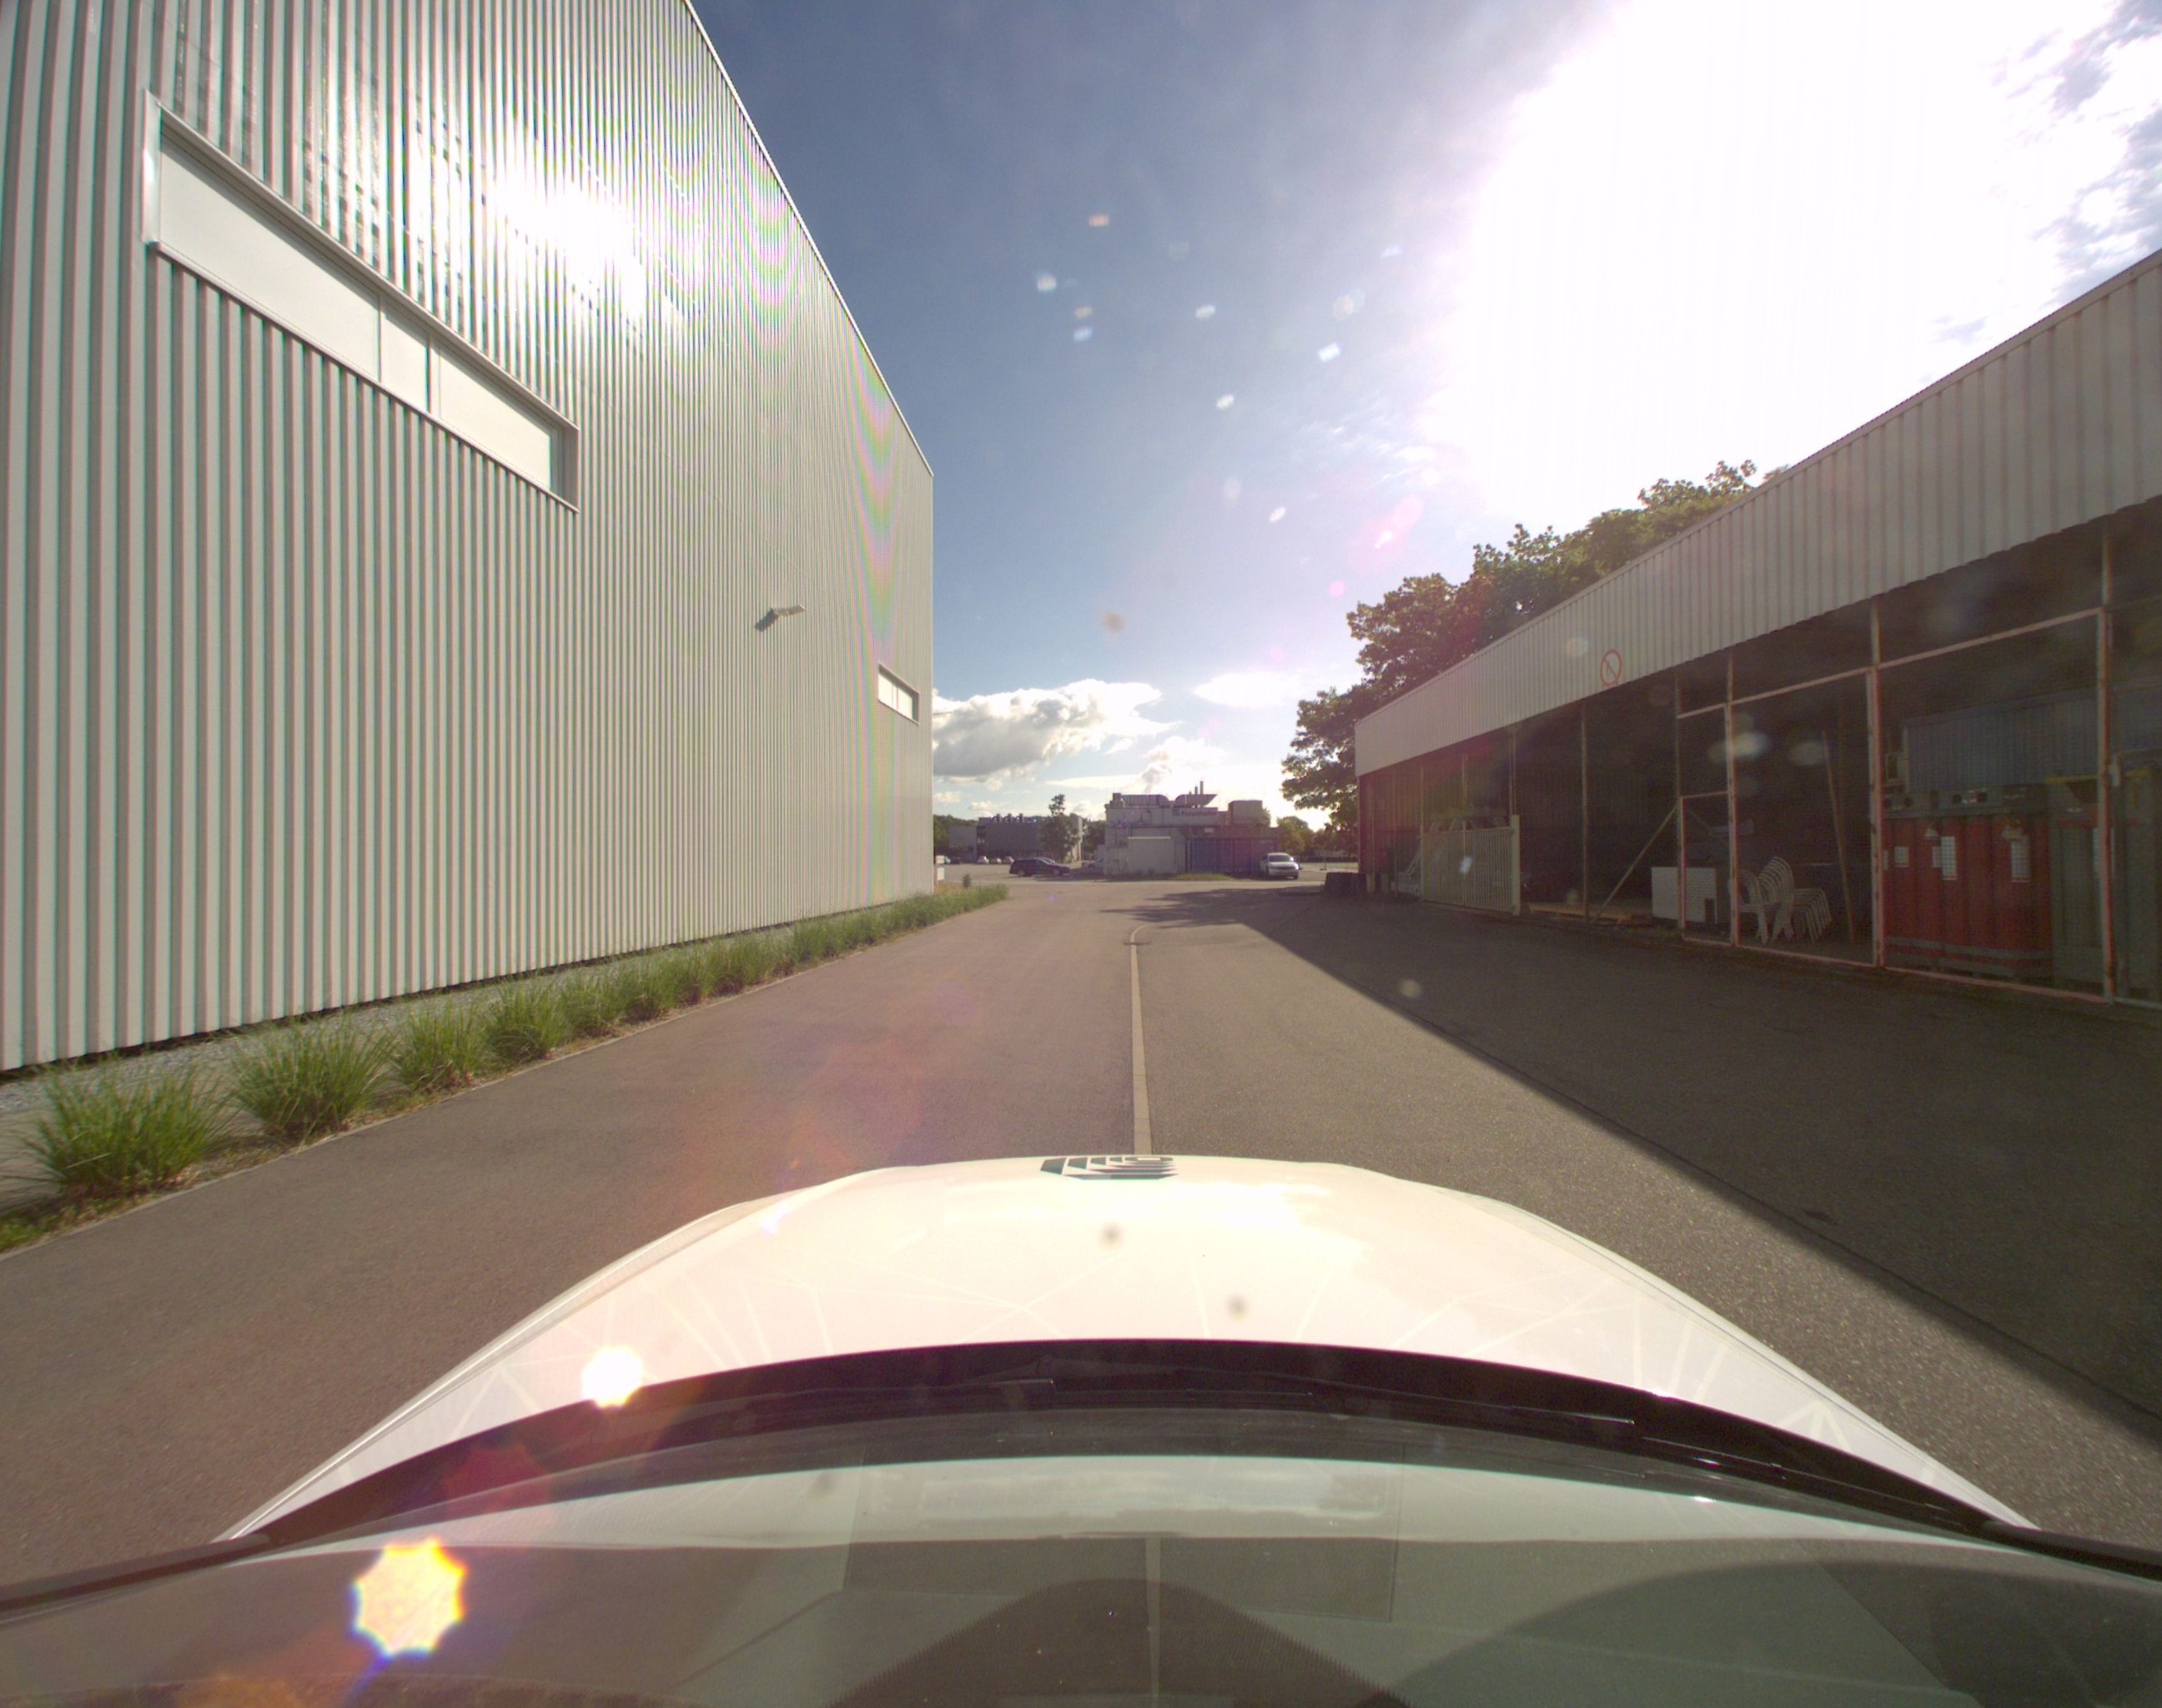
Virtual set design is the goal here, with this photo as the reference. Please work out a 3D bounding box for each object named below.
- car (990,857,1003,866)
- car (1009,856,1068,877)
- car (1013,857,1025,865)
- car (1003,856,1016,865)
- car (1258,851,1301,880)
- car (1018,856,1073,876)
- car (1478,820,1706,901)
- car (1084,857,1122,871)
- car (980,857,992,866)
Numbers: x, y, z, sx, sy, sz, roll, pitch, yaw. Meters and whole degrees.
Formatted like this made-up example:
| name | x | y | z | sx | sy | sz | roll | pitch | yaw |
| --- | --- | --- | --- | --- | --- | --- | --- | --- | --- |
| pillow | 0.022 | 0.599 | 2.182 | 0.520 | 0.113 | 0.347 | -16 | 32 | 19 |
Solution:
| name | x | y | z | sx | sy | sz | roll | pitch | yaw |
| --- | --- | --- | --- | --- | --- | --- | --- | --- | --- |
| car | -16.855 | 1.426 | 162.458 | 1.969 | 1.678 | 4.001 | -2 | -1 | 2 |
| car | -3.339 | 0.979 | 64.874 | 4.430 | 1.531 | 1.825 | -2 | -1 | 2 |
| car | -12.297 | 1.326 | 160.831 | 1.851 | 1.494 | 4.031 | -2 | -1 | 2 |
| car | -14.252 | 1.316 | 162.763 | 1.958 | 1.712 | 4.031 | -2 | -1 | 2 |
| car | 12.512 | 0.685 | 51.634 | 1.970 | 1.602 | 4.383 | -2 | 1 | 5 |
| car | -2.983 | 1.014 | 68.510 | 4.430 | 1.531 | 1.825 | -2 | -1 | 2 |
| car | 13.116 | 0.170 | 21.089 | 4.761 | 1.916 | 1.996 | -1 | -1 | -5 |
| car | 2.519 | 1.138 | 92.543 | 4.285 | 1.457 | 1.825 | -2 | -1 | 2 |
| car | -18.946 | 1.464 | 162.946 | 1.791 | 1.712 | 4.049 | -2 | -1 | 2 |
